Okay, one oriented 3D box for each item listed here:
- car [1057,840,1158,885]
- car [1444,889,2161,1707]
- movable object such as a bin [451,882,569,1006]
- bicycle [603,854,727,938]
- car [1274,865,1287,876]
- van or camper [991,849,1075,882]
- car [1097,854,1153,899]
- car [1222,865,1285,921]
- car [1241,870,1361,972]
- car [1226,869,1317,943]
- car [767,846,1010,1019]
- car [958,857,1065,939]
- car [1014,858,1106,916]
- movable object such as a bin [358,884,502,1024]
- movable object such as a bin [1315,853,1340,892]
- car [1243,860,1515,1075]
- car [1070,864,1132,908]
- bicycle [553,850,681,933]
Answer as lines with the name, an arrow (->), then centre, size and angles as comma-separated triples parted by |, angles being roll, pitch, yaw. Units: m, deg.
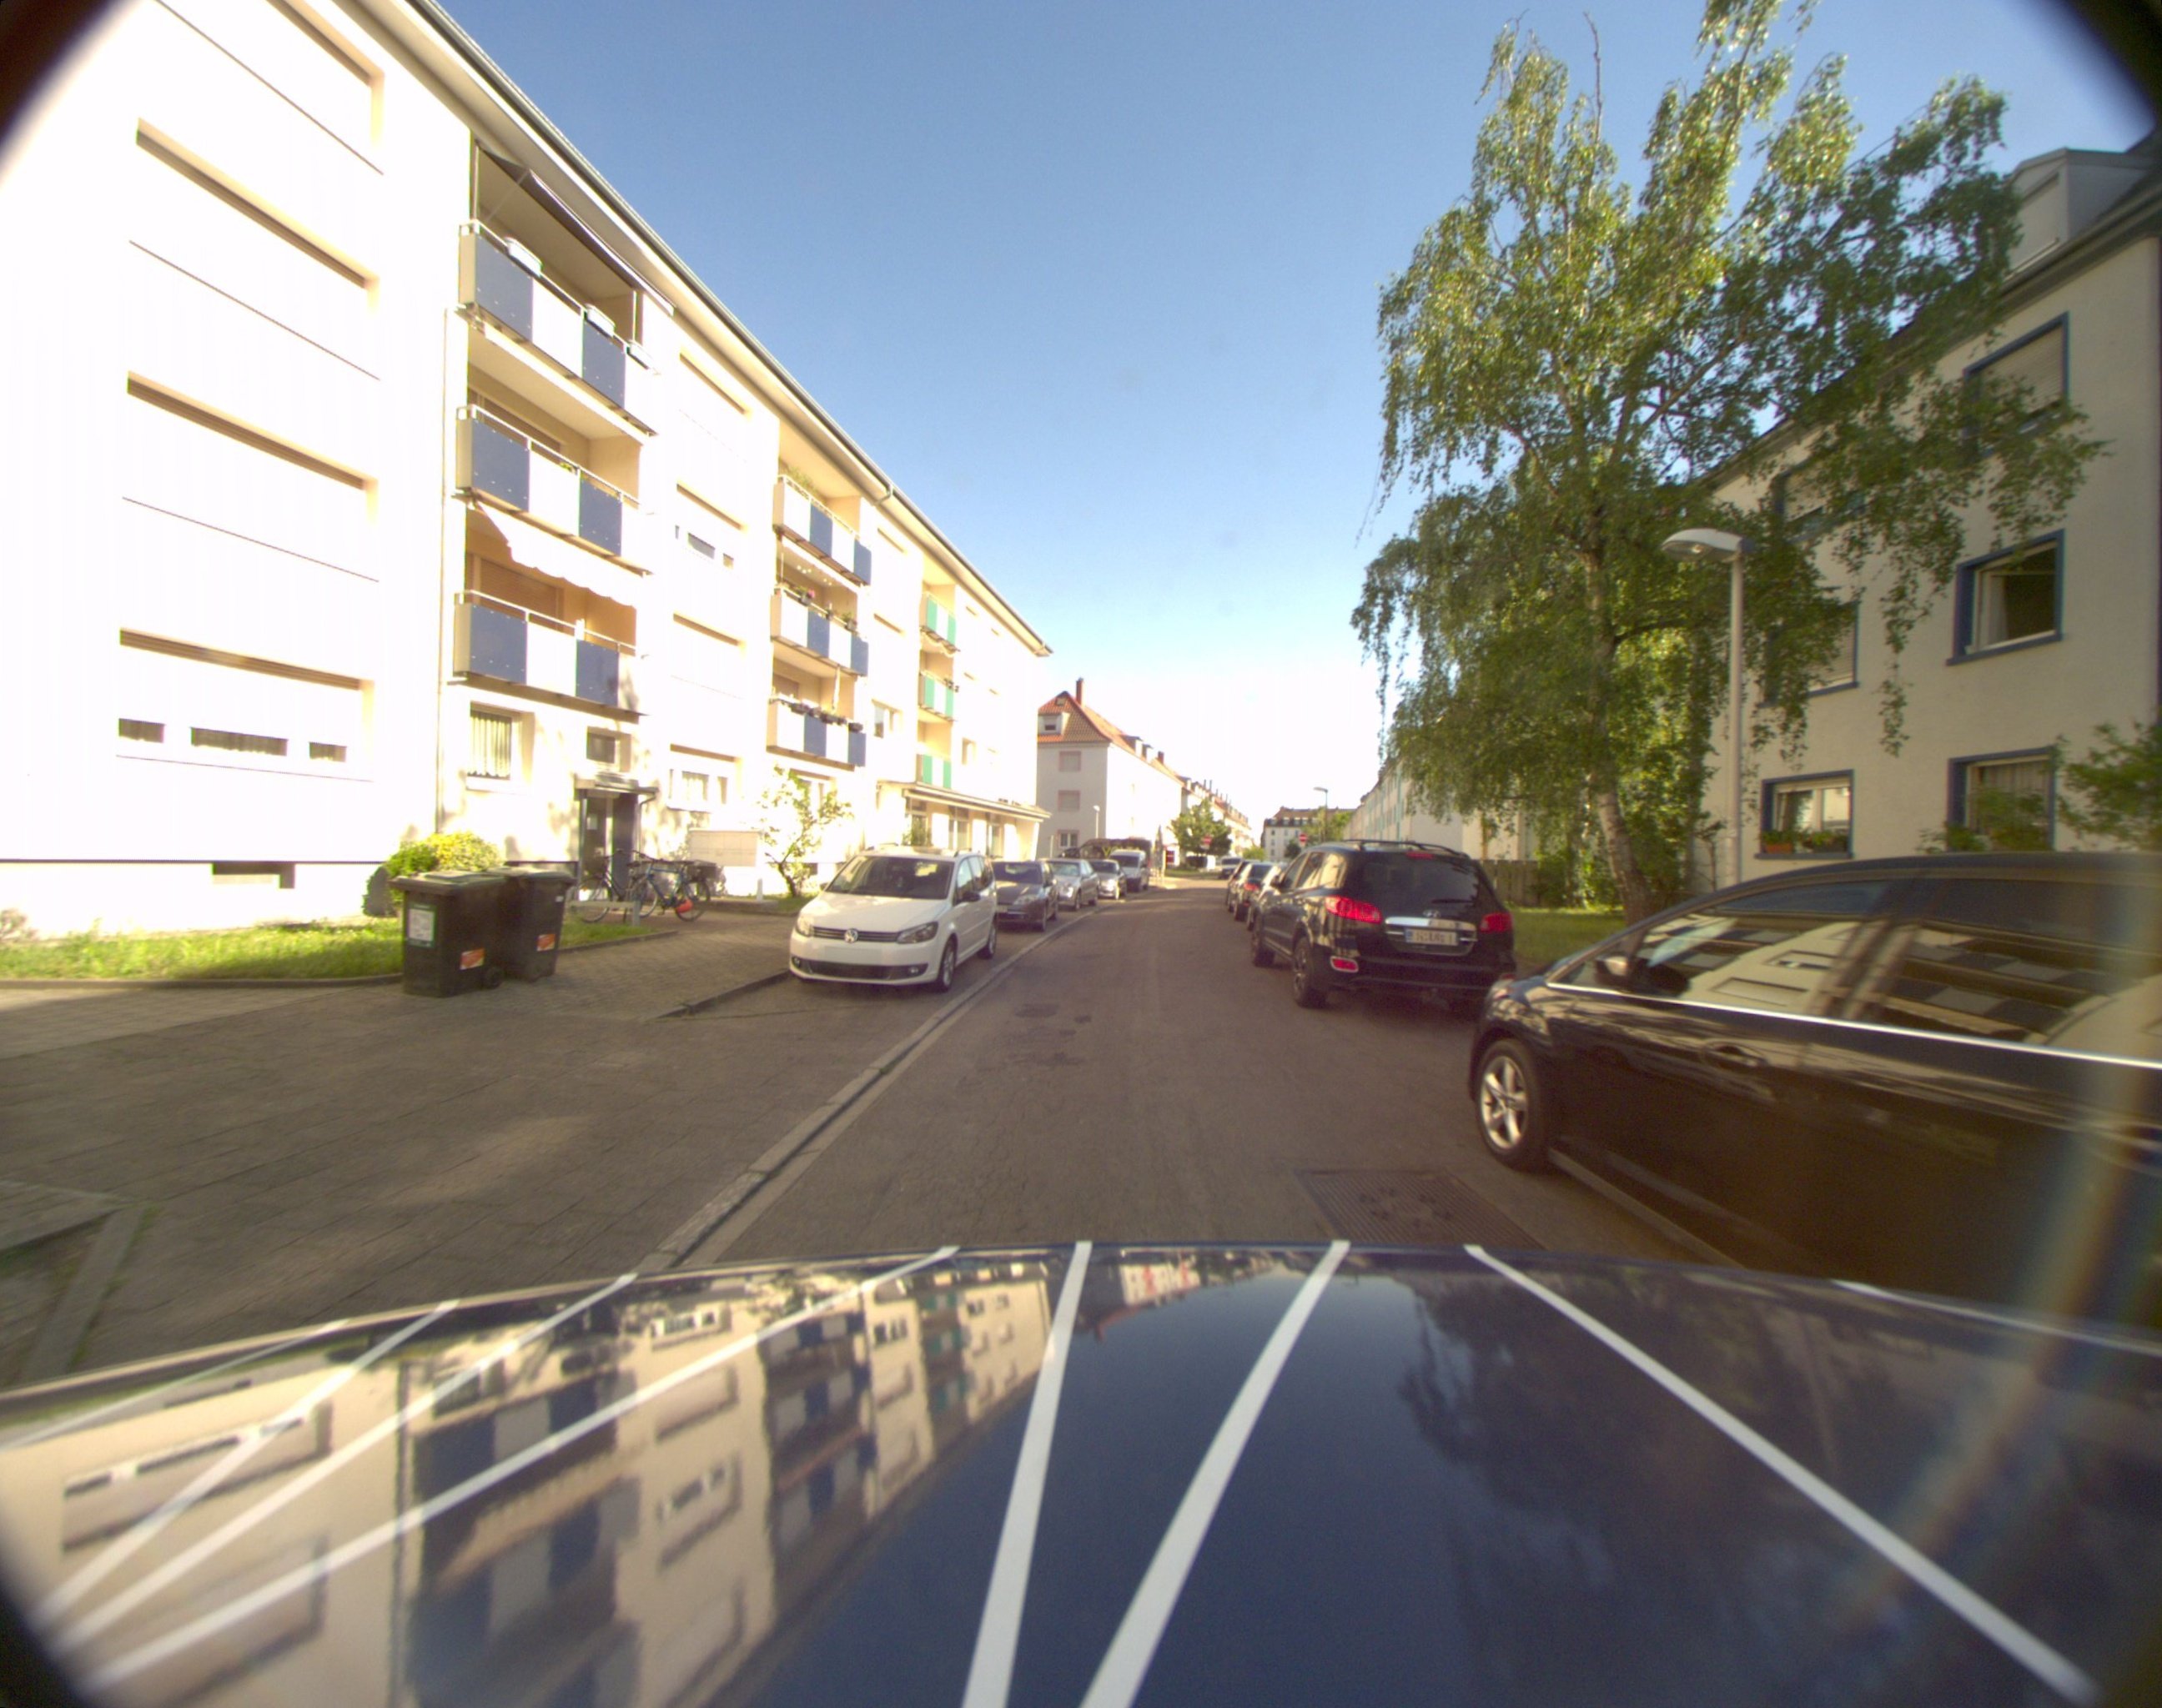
car -> 1.658, 0.520, 46.932 | 5.949, 2.530, 2.002 | 1, 0, 12
car -> 2.858, 1.023, 2.169 | 1.698, 1.551, 4.157 | 3, 1, 2
movable object such as a bin -> -5.449, 0.836, 7.275 | 0.584, 1.050, 0.641 | 5, 3, 9
bicycle -> -6.495, 0.626, 11.975 | 0.515, 1.196, 1.764 | 4, 0, 19
car -> 36.443, 2.951, 139.003 | 1.951, 1.889, 4.771 | 2, 0, 18
van or camper -> -3.211, 0.761, 51.066 | 5.130, 2.001, 2.003 | 2, -2, 14
car -> 2.046, 0.961, 34.268 | 1.749, 1.813, 4.136 | 3, 0, 13
car -> 5.512, 1.171, 24.434 | 1.680, 1.444, 4.625 | 5, 1, 12
car -> 3.988, 1.127, 14.341 | 1.558, 1.434, 3.970 | 5, 1, 9
car -> 4.638, 1.185, 19.031 | 1.681, 1.434, 4.283 | 5, 1, 9
car -> -2.197, 0.778, 9.991 | 1.697, 1.646, 4.391 | 3, 1, 4
car -> -1.373, 0.842, 16.769 | 1.698, 1.423, 4.688 | 3, 1, 2
car -> -0.488, 0.898, 22.656 | 1.681, 1.438, 4.727 | -1, 0, 11
movable object such as a bin -> -5.604, 0.829, 6.571 | 0.584, 1.089, 0.683 | 4, 1, 9
movable object such as a bin -> 9.150, 0.678, 28.263 | 0.776, 1.384, 1.419 | 2, 0, 15
car -> 3.061, 1.004, 8.822 | 1.559, 1.704, 4.338 | 5, 1, 4
car -> 0.844, 1.150, 28.726 | 1.681, 1.399, 4.548 | -1, 0, 10
bicycle -> -7.363, 0.570, 12.163 | 0.515, 1.196, 1.836 | 4, 0, 15
